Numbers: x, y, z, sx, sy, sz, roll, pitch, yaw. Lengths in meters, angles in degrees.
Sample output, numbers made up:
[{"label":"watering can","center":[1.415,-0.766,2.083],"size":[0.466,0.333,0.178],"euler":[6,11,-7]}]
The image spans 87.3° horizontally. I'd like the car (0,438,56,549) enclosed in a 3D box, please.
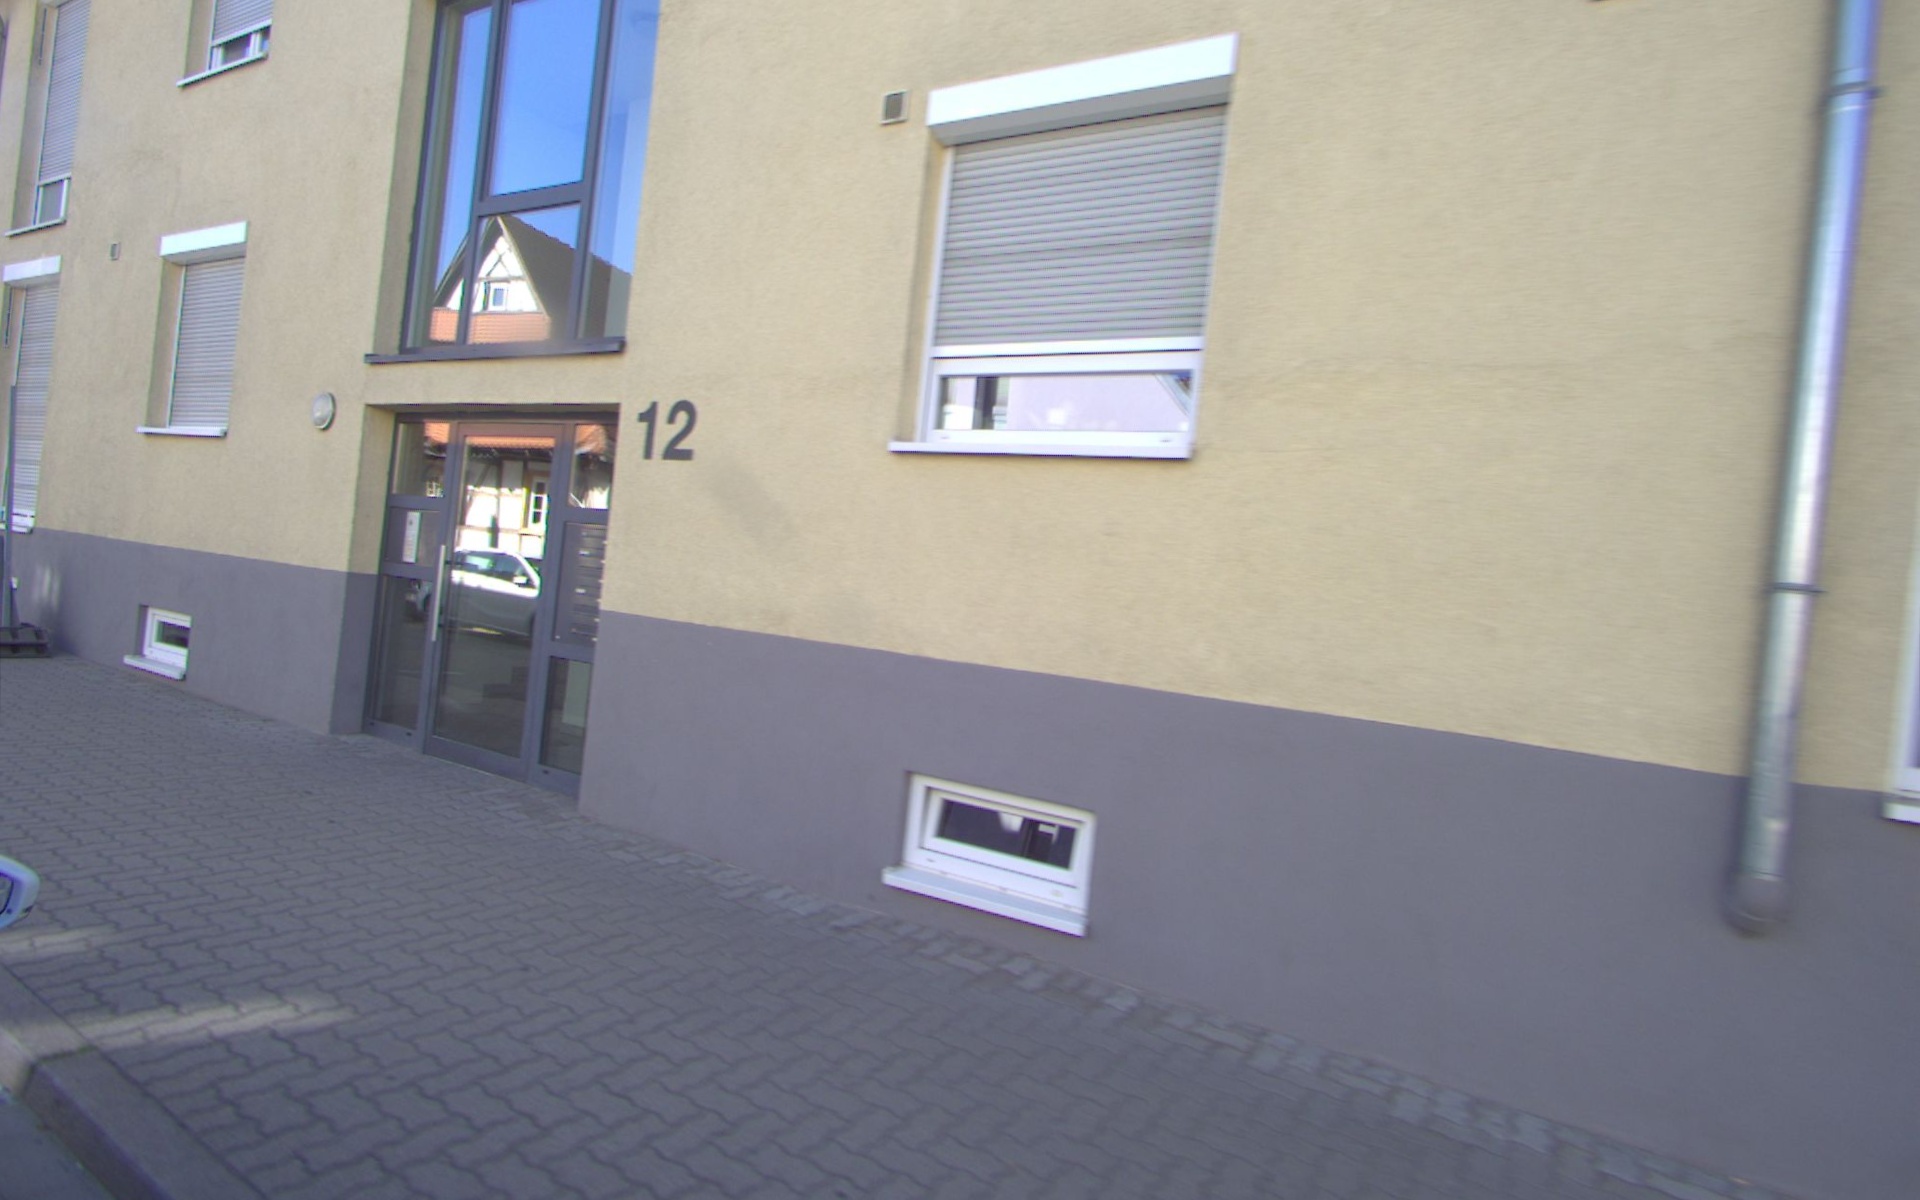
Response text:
[{"label":"car","center":[-25.800,-2.862,24.079],"size":[1.934,2.689,5.809],"euler":[5,0,30]}]
